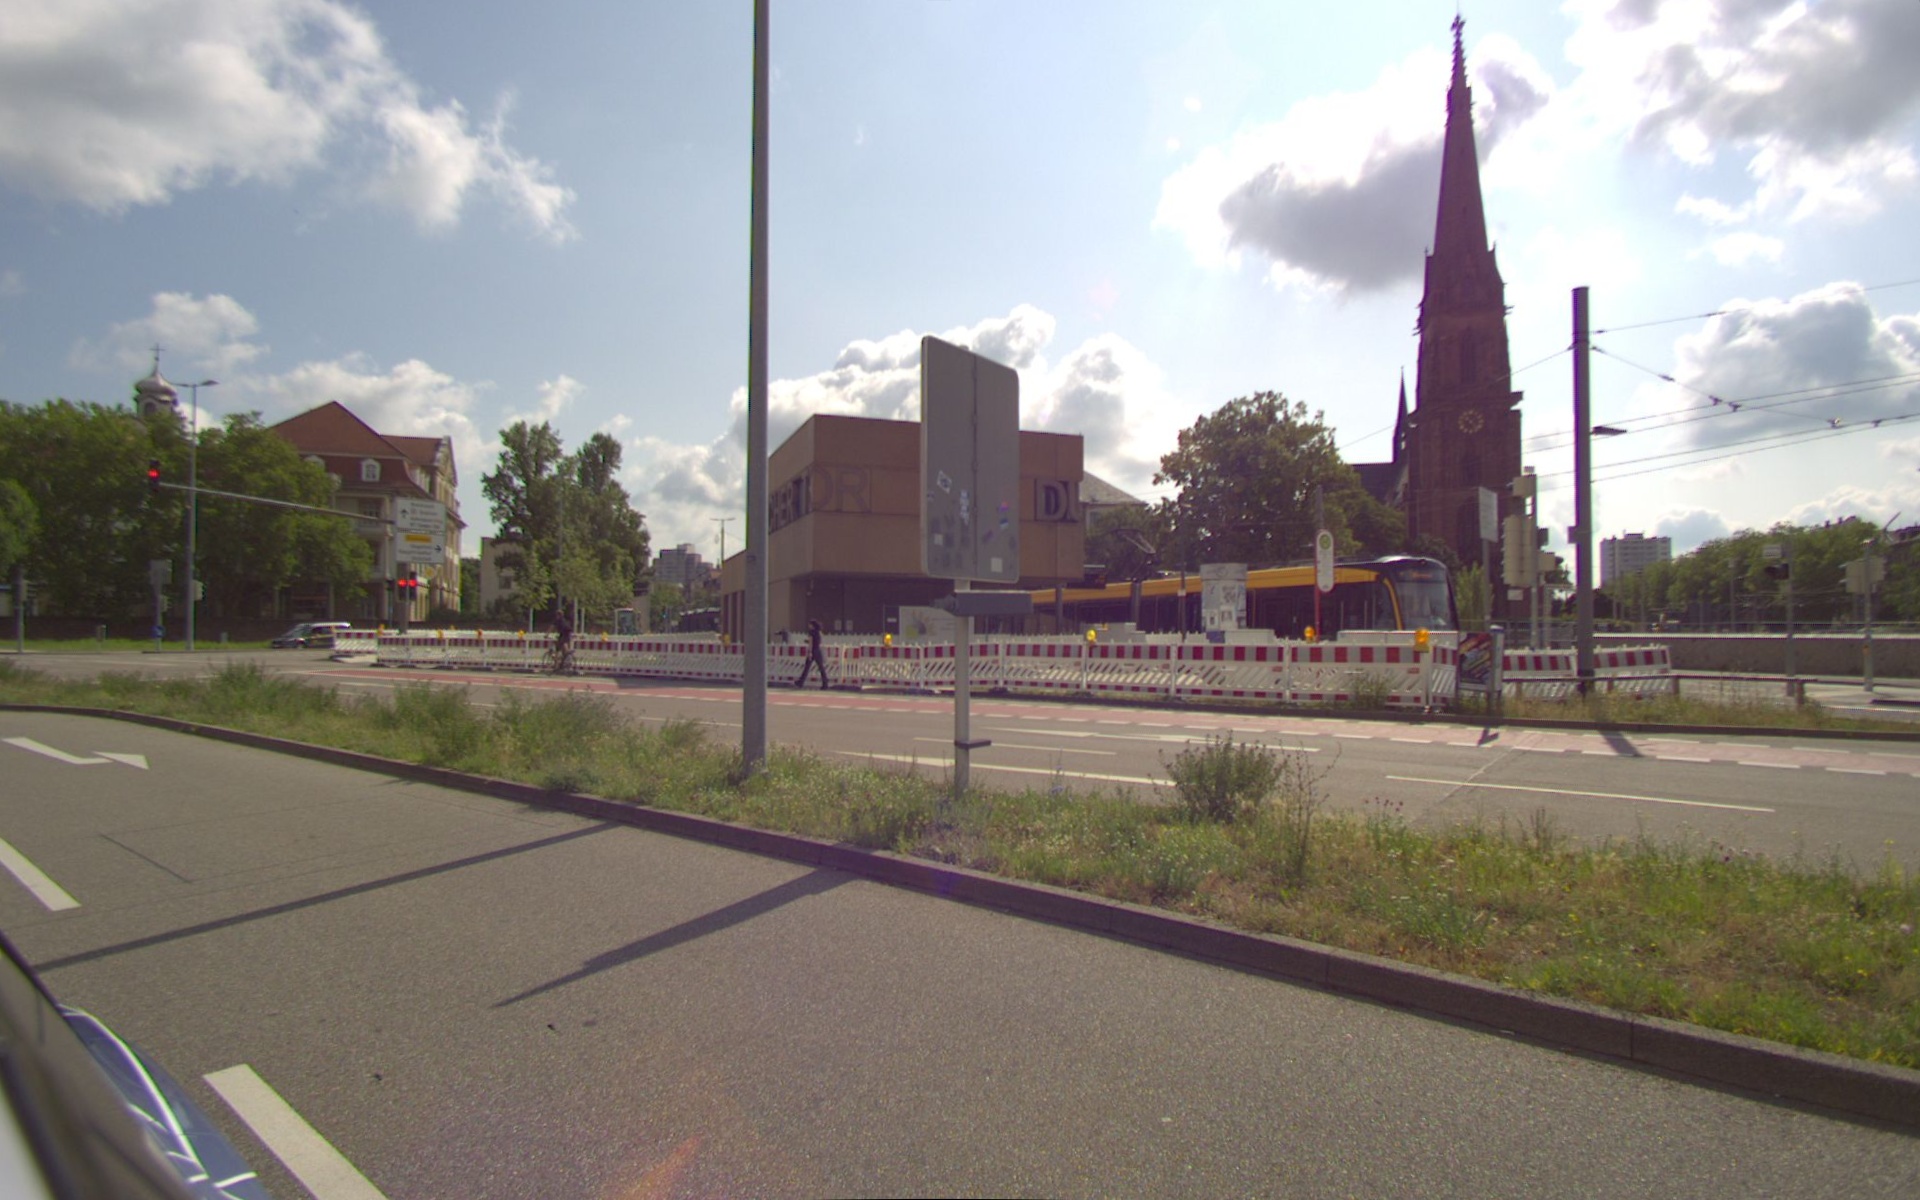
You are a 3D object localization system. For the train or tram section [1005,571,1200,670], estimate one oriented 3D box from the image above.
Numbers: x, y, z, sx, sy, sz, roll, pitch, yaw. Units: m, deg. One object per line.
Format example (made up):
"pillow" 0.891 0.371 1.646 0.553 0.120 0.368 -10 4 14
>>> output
"train or tram section" 5.533 0.938 42.966 2.584 3.591 12.453 1 -2 -20

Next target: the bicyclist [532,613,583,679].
"bicyclist" -11.436 1.297 28.755 1.155 1.836 0.804 -1 -2 32

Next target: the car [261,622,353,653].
"car" -39.825 2.294 61.835 1.838 1.799 4.646 -2 -3 16

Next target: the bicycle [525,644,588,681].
"bicycle" -11.488 1.758 28.807 2.012 1.009 0.612 -1 -2 32

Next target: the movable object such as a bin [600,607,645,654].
"movable object such as a bin" -22.203 2.032 66.492 1.965 2.972 4.465 2 -3 -28

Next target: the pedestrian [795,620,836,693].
"pedestrian" -3.452 1.340 24.232 0.640 1.694 0.729 -1 -2 37

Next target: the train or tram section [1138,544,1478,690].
"train or tram section" 9.832 0.603 31.254 2.622 3.599 12.453 1 -2 -20
